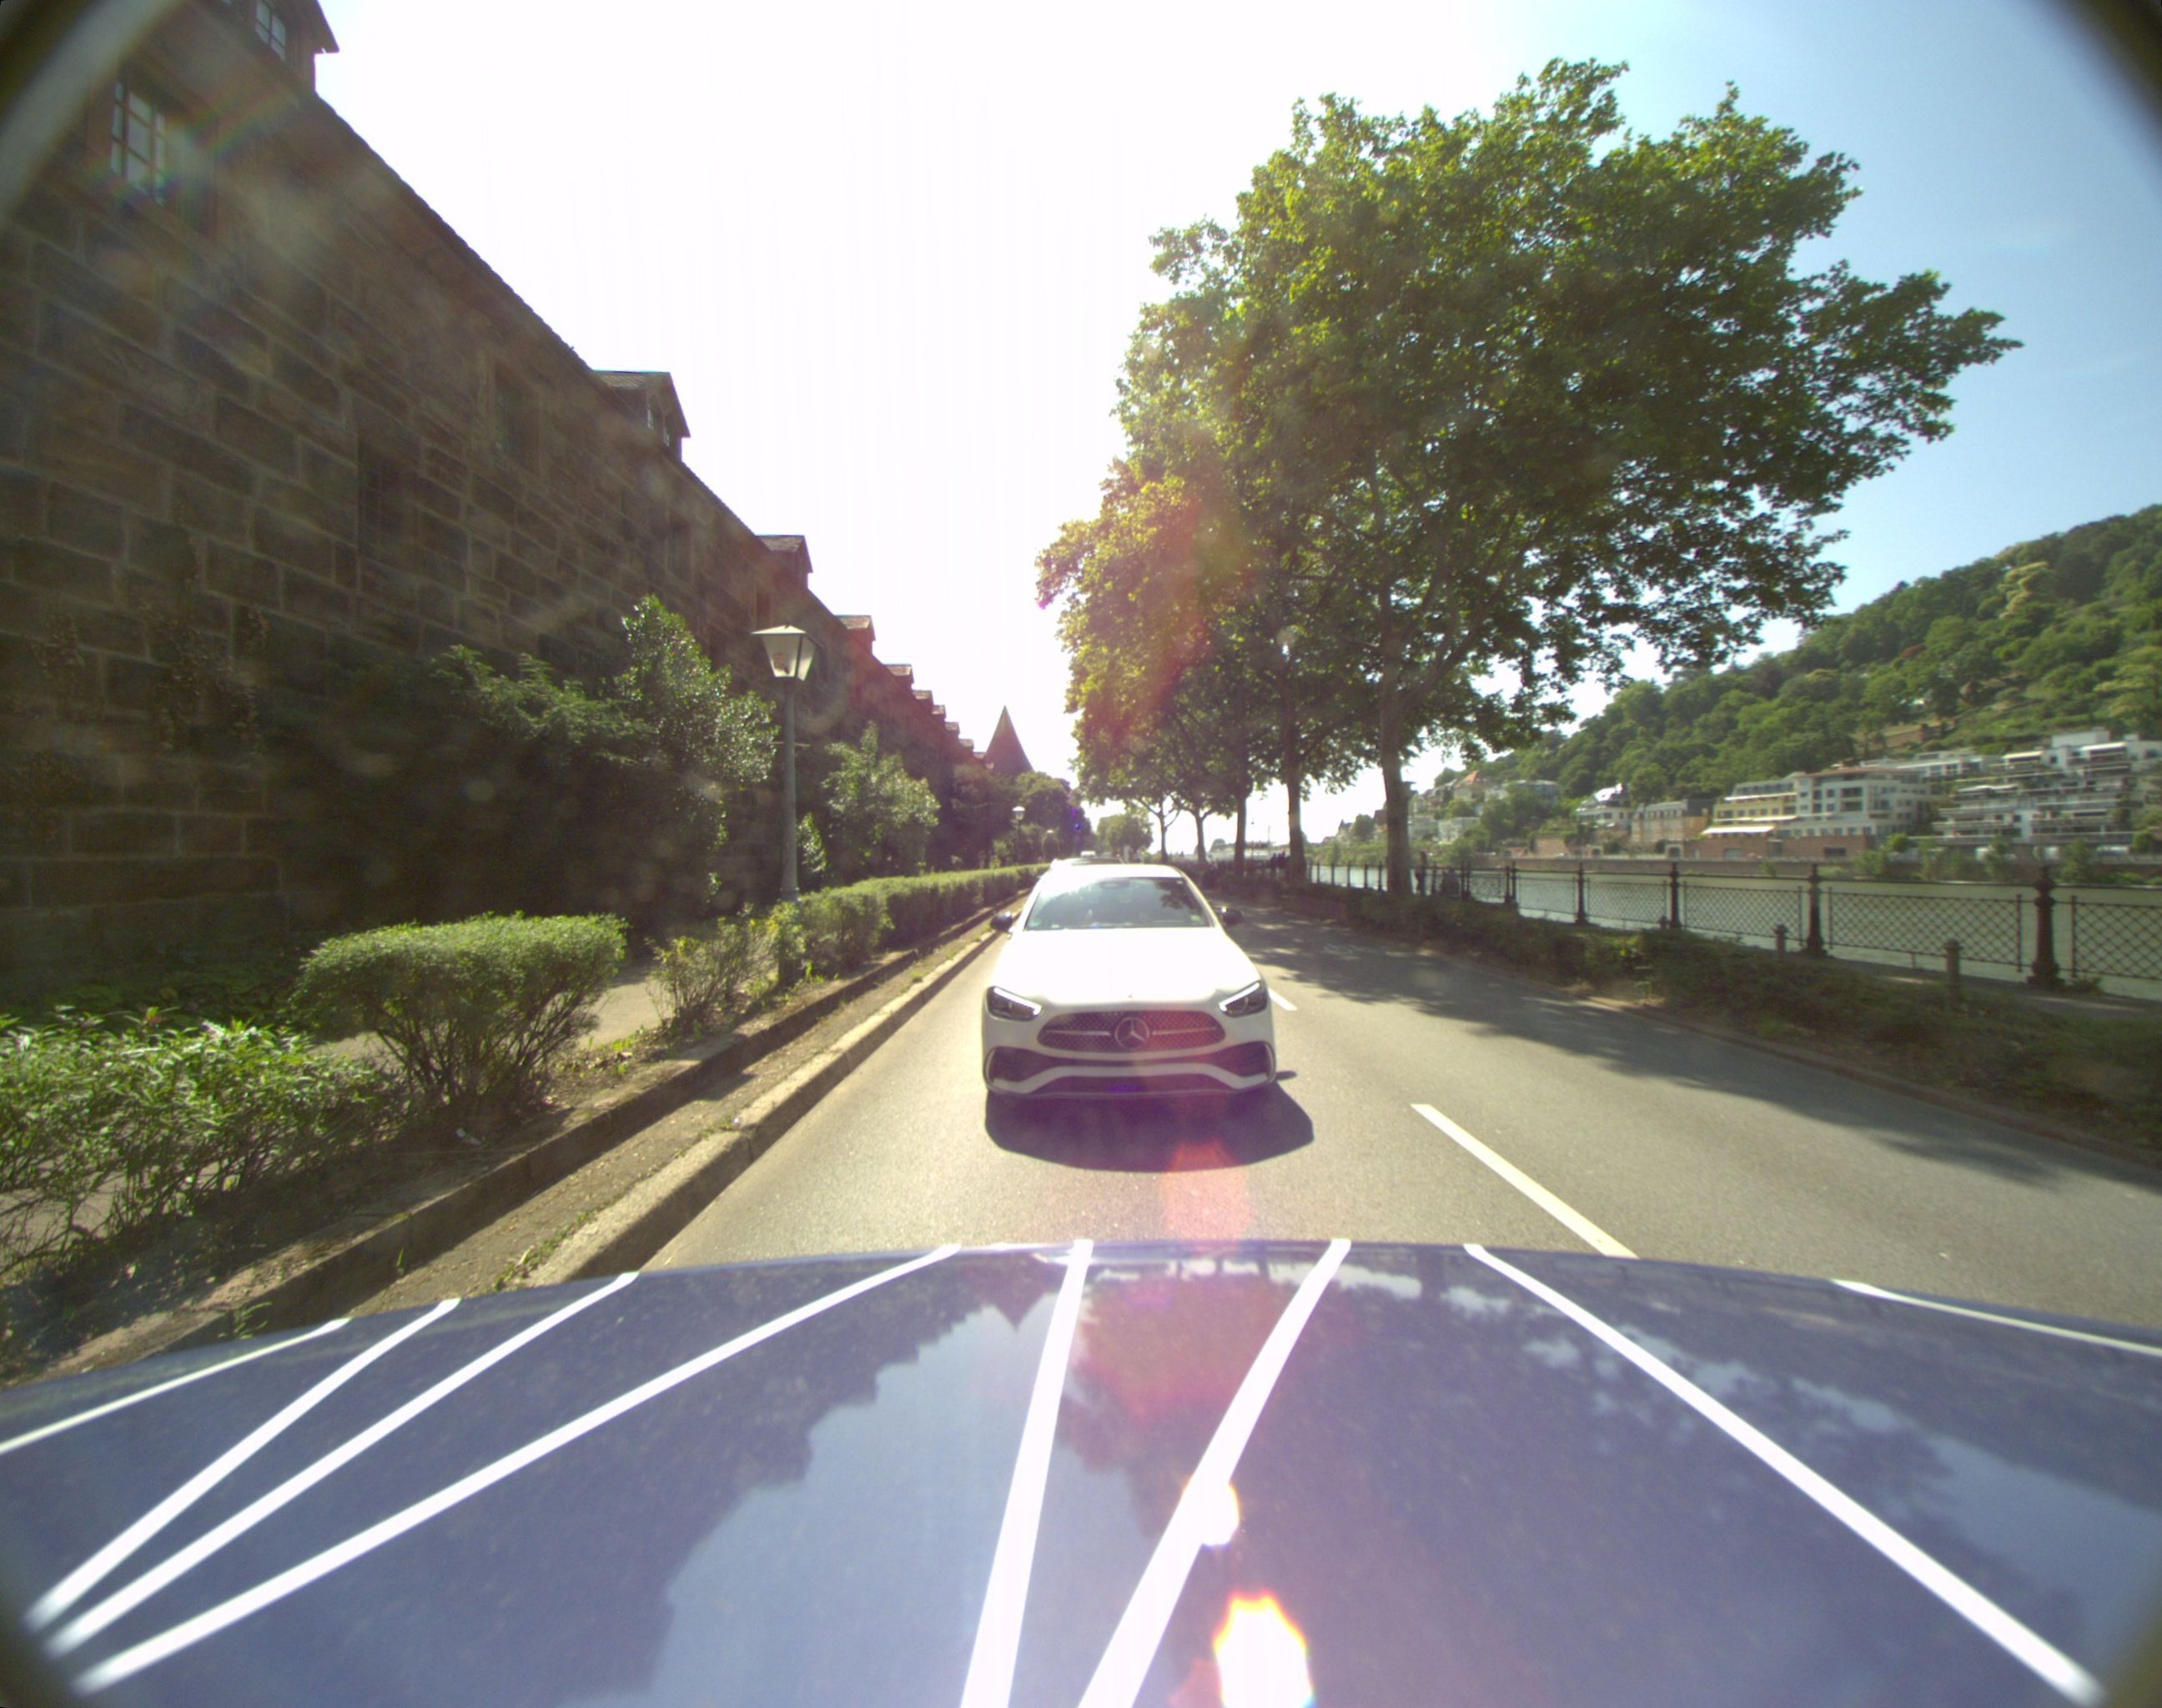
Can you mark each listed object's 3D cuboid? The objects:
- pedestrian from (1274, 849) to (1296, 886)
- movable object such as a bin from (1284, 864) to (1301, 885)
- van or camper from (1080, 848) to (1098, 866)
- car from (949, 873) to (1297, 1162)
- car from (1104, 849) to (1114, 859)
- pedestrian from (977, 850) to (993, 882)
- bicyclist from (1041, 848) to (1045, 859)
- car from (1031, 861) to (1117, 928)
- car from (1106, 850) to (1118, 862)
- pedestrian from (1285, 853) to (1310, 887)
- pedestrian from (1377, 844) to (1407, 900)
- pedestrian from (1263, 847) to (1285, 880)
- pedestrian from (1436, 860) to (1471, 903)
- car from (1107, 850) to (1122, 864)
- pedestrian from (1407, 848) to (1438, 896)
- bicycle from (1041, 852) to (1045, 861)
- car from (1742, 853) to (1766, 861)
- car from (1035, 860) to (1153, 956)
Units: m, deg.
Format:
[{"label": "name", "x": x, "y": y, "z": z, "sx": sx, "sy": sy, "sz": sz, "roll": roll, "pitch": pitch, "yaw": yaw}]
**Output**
[{"label": "pedestrian", "x": 10.230, "y": 0.673, "z": 38.181, "sx": 0.806, "sy": 1.839, "sz": 0.929, "roll": -2, "pitch": 1, "yaw": 1}, {"label": "movable object such as a bin", "x": 10.876, "y": 1.038, "z": 39.098, "sx": 0.703, "sy": 1.043, "sz": 0.783, "roll": -2, "pitch": 1, "yaw": 4}, {"label": "van or camper", "x": 1.062, "y": 0.400, "z": 102.334, "sx": 2.313, "sy": 2.358, "sz": 5.035, "roll": 1, "pitch": 0, "yaw": 0}, {"label": "car", "x": 0.255, "y": 0.939, "z": 6.235, "sx": 1.833, "sy": 1.395, "sz": 4.270, "roll": -2, "pitch": 0, "yaw": 1}, {"label": "car", "x": 6.136, "y": 0.022, "z": 168.037, "sx": 2.165, "sy": 2.002, "sz": 4.000, "roll": -2, "pitch": 1, "yaw": 1}, {"label": "pedestrian", "x": -4.759, "y": 0.583, "z": 37.796, "sx": 0.643, "sy": 1.555, "sz": 0.563, "roll": -2, "pitch": 1, "yaw": 1}, {"label": "bicyclist", "x": -5.136, "y": -0.057, "z": 102.534, "sx": 0.550, "sy": 1.513, "sz": 0.583, "roll": -2, "pitch": 1, "yaw": -1}, {"label": "car", "x": -0.125, "y": 0.917, "z": 19.021, "sx": 1.833, "sy": 1.395, "sz": 4.424, "roll": -2, "pitch": 0, "yaw": 1}, {"label": "car", "x": 5.811, "y": 0.343, "z": 142.996, "sx": 2.165, "sy": 2.002, "sz": 4.000, "roll": -2, "pitch": 1, "yaw": 1}, {"label": "pedestrian", "x": 10.873, "y": 0.793, "z": 38.158, "sx": 0.897, "sy": 1.625, "sz": 1.059, "roll": -2, "pitch": 1, "yaw": 0}, {"label": "pedestrian", "x": 10.673, "y": 0.608, "z": 26.060, "sx": 0.767, "sy": 1.889, "sz": 0.771, "roll": 1, "pitch": 1, "yaw": 8}, {"label": "pedestrian", "x": 12.014, "y": 0.599, "z": 47.307, "sx": 1.047, "sy": 2.002, "sz": 1.036, "roll": -1, "pitch": 1, "yaw": 31}, {"label": "pedestrian", "x": 12.159, "y": 0.893, "z": 24.828, "sx": 0.768, "sy": 1.379, "sz": 0.770, "roll": 1, "pitch": 0, "yaw": 0}, {"label": "car", "x": 5.070, "y": 0.397, "z": 114.574, "sx": 2.165, "sy": 2.002, "sz": 4.000, "roll": -2, "pitch": 1, "yaw": 1}, {"label": "pedestrian", "x": 12.837, "y": 0.676, "z": 28.586, "sx": 0.777, "sy": 1.748, "sz": 0.830, "roll": 1, "pitch": 1, "yaw": 0}, {"label": "bicycle", "x": -5.088, "y": 0.336, "z": 102.408, "sx": 0.406, "sy": 1.169, "sz": 1.576, "roll": -2, "pitch": 1, "yaw": -2}, {"label": "car", "x": 161.698, "y": 0.705, "z": 182.520, "sx": 2.000, "sy": 2.002, "sz": 3.996, "roll": -2, "pitch": 1, "yaw": -10}, {"label": "car", "x": 0.235, "y": 0.880, "z": 14.249, "sx": 1.833, "sy": 1.428, "sz": 4.270, "roll": -2, "pitch": 0, "yaw": 1}]
